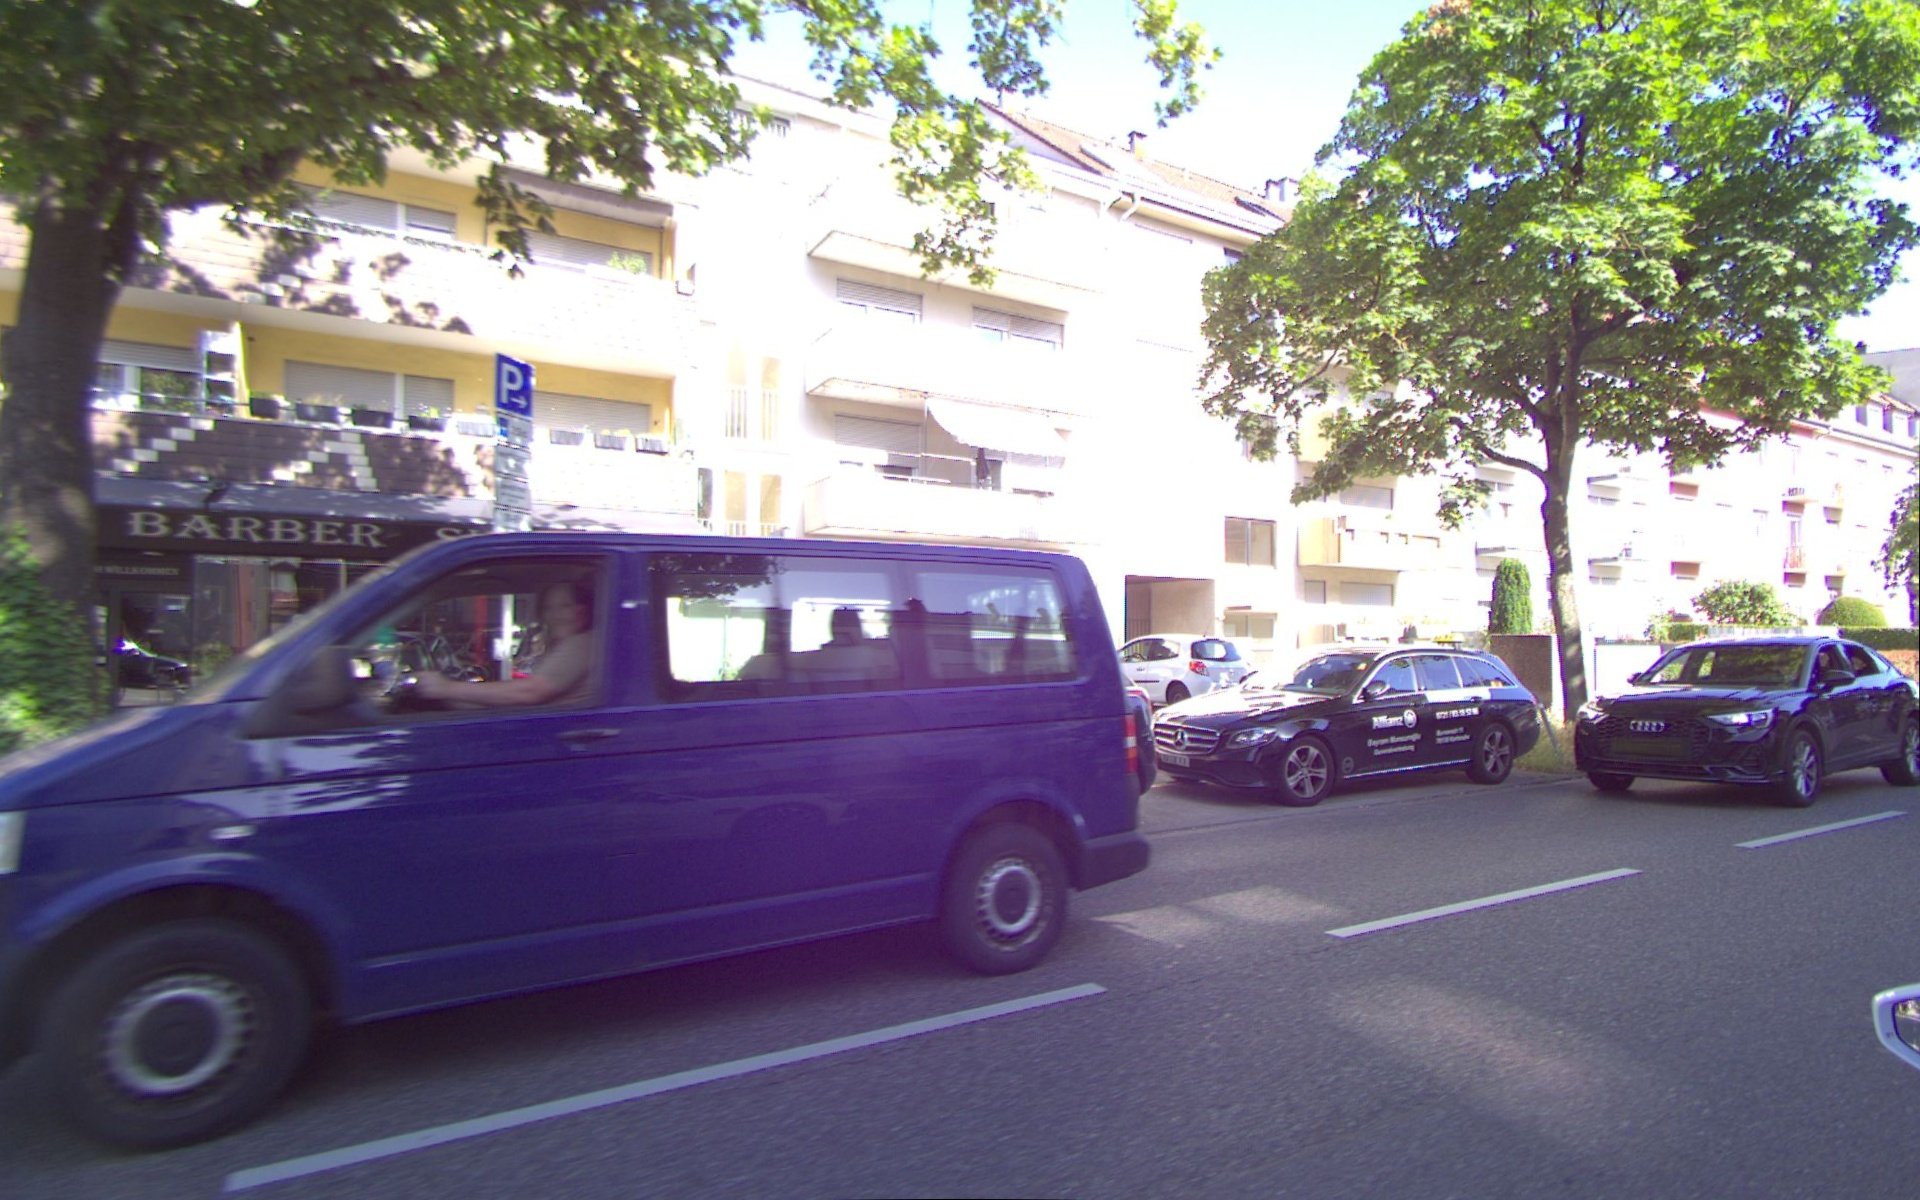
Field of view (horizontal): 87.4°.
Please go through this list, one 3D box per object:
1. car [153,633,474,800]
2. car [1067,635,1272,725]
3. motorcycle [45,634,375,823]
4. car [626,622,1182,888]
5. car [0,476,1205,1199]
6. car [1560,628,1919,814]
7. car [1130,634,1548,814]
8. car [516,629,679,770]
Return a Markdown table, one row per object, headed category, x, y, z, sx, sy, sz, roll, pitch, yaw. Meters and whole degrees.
| category | x | y | z | sx | sy | sz | roll | pitch | yaw |
| --- | --- | --- | --- | --- | --- | --- | --- | --- | --- |
| car | -6.992 | 1.140 | 11.391 | 1.702 | 1.475 | 3.992 | 0 | -1 | -11 |
| car | 4.038 | 1.493 | 19.964 | 1.859 | 1.506 | 3.968 | 1 | -1 | -30 |
| motorcycle | -4.915 | 0.808 | 6.705 | 1.692 | 1.140 | 0.460 | 0 | -1 | -23 |
| car | -0.359 | 1.012 | 7.976 | 4.088 | 1.617 | 1.714 | 1 | -1 | -30 |
| car | -1.268 | 0.729 | 4.549 | 4.657 | 1.935 | 1.795 | 1 | -4 | -31 |
| car | 8.343 | 1.138 | 10.459 | 4.292 | 1.586 | 1.711 | 1 | -5 | -31 |
| car | 4.175 | 1.170 | 10.815 | 4.625 | 1.556 | 1.714 | 1 | -1 | -30 |
| car | -4.734 | 1.148 | 13.101 | 1.707 | 1.480 | 3.981 | 0 | -1 | -21 |
